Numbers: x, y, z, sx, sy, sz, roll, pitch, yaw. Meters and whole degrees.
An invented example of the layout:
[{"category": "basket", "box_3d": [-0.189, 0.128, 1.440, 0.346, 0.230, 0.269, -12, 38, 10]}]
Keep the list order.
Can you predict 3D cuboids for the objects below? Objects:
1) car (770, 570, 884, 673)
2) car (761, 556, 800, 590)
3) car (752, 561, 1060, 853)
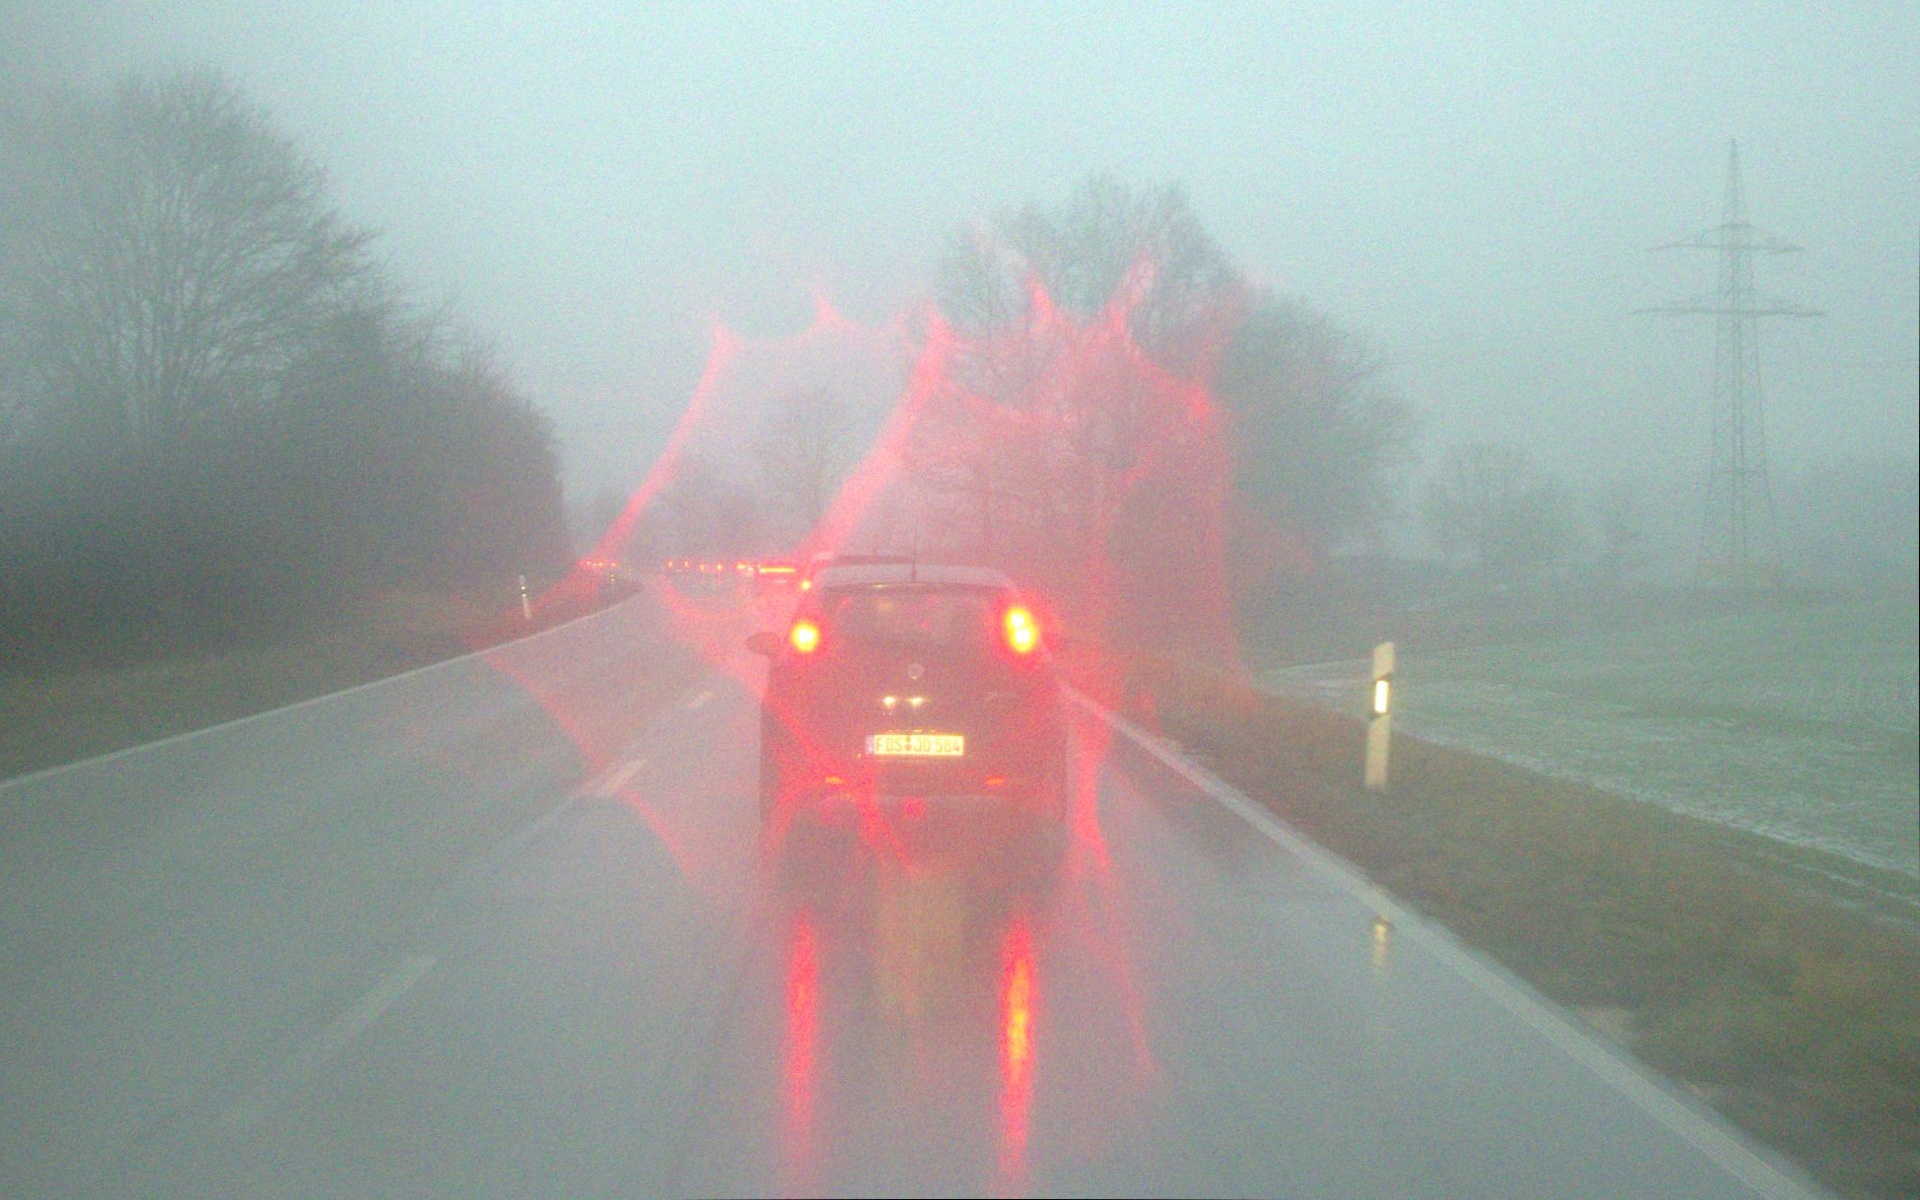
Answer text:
[{"category": "car", "box_3d": [-1.916, 0.281, 49.132, 1.547, 1.392, 3.870, 1, 1, -3]}, {"category": "car", "box_3d": [-7.479, -1.131, 143.229, 1.547, 1.392, 3.870, 1, 1, -2]}, {"category": "car", "box_3d": [-0.286, 0.543, 20.041, 1.602, 1.517, 3.869, 1, 1, 0]}]
